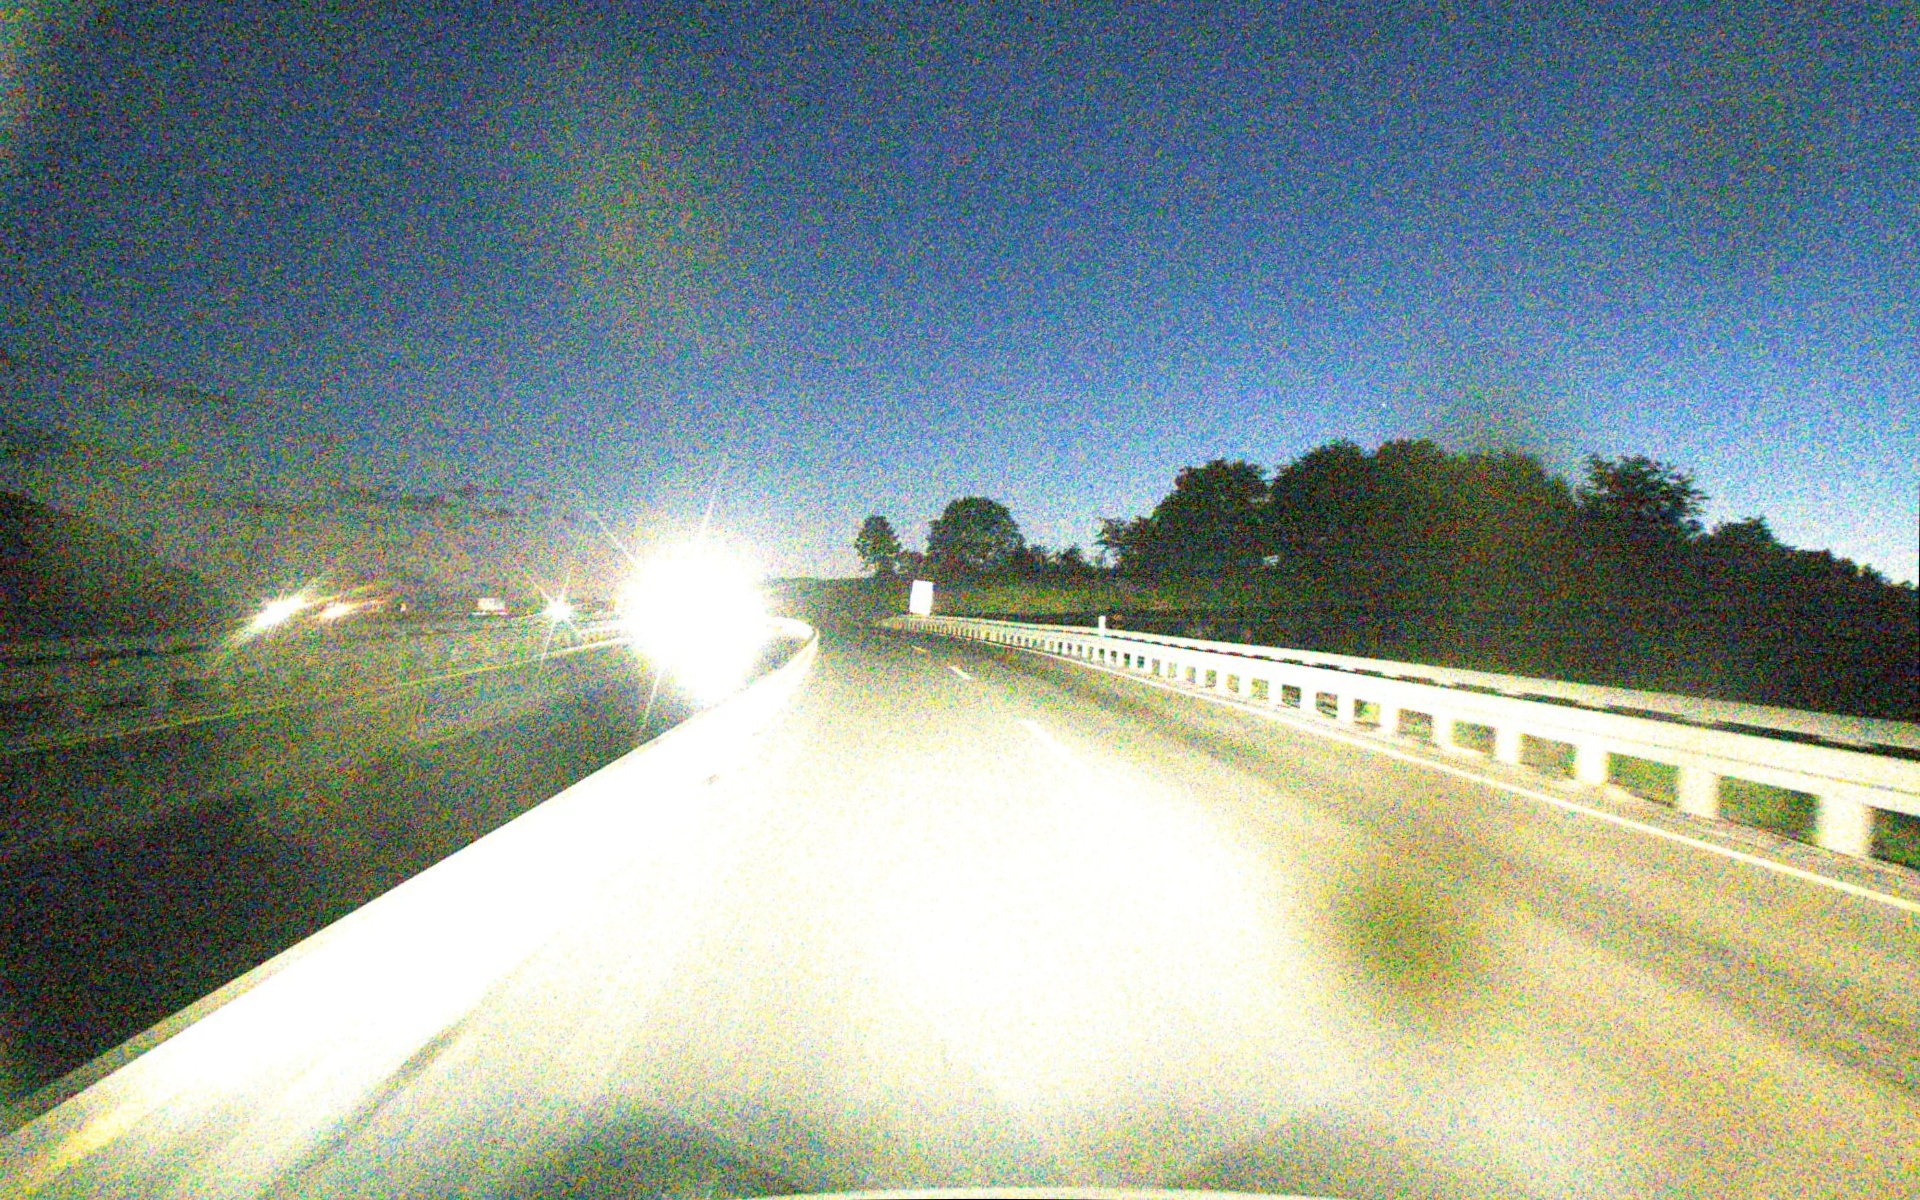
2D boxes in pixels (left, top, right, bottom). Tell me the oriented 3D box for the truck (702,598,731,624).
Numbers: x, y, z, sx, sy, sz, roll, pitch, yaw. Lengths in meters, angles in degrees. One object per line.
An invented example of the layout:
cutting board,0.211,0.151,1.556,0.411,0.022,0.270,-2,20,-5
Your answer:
truck,-14.546,0.657,98.944,1.651,1.495,4.145,1,-1,-8

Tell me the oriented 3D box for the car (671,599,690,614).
car,-28.407,0.702,167.907,1.682,1.469,4.472,0,-1,-12
